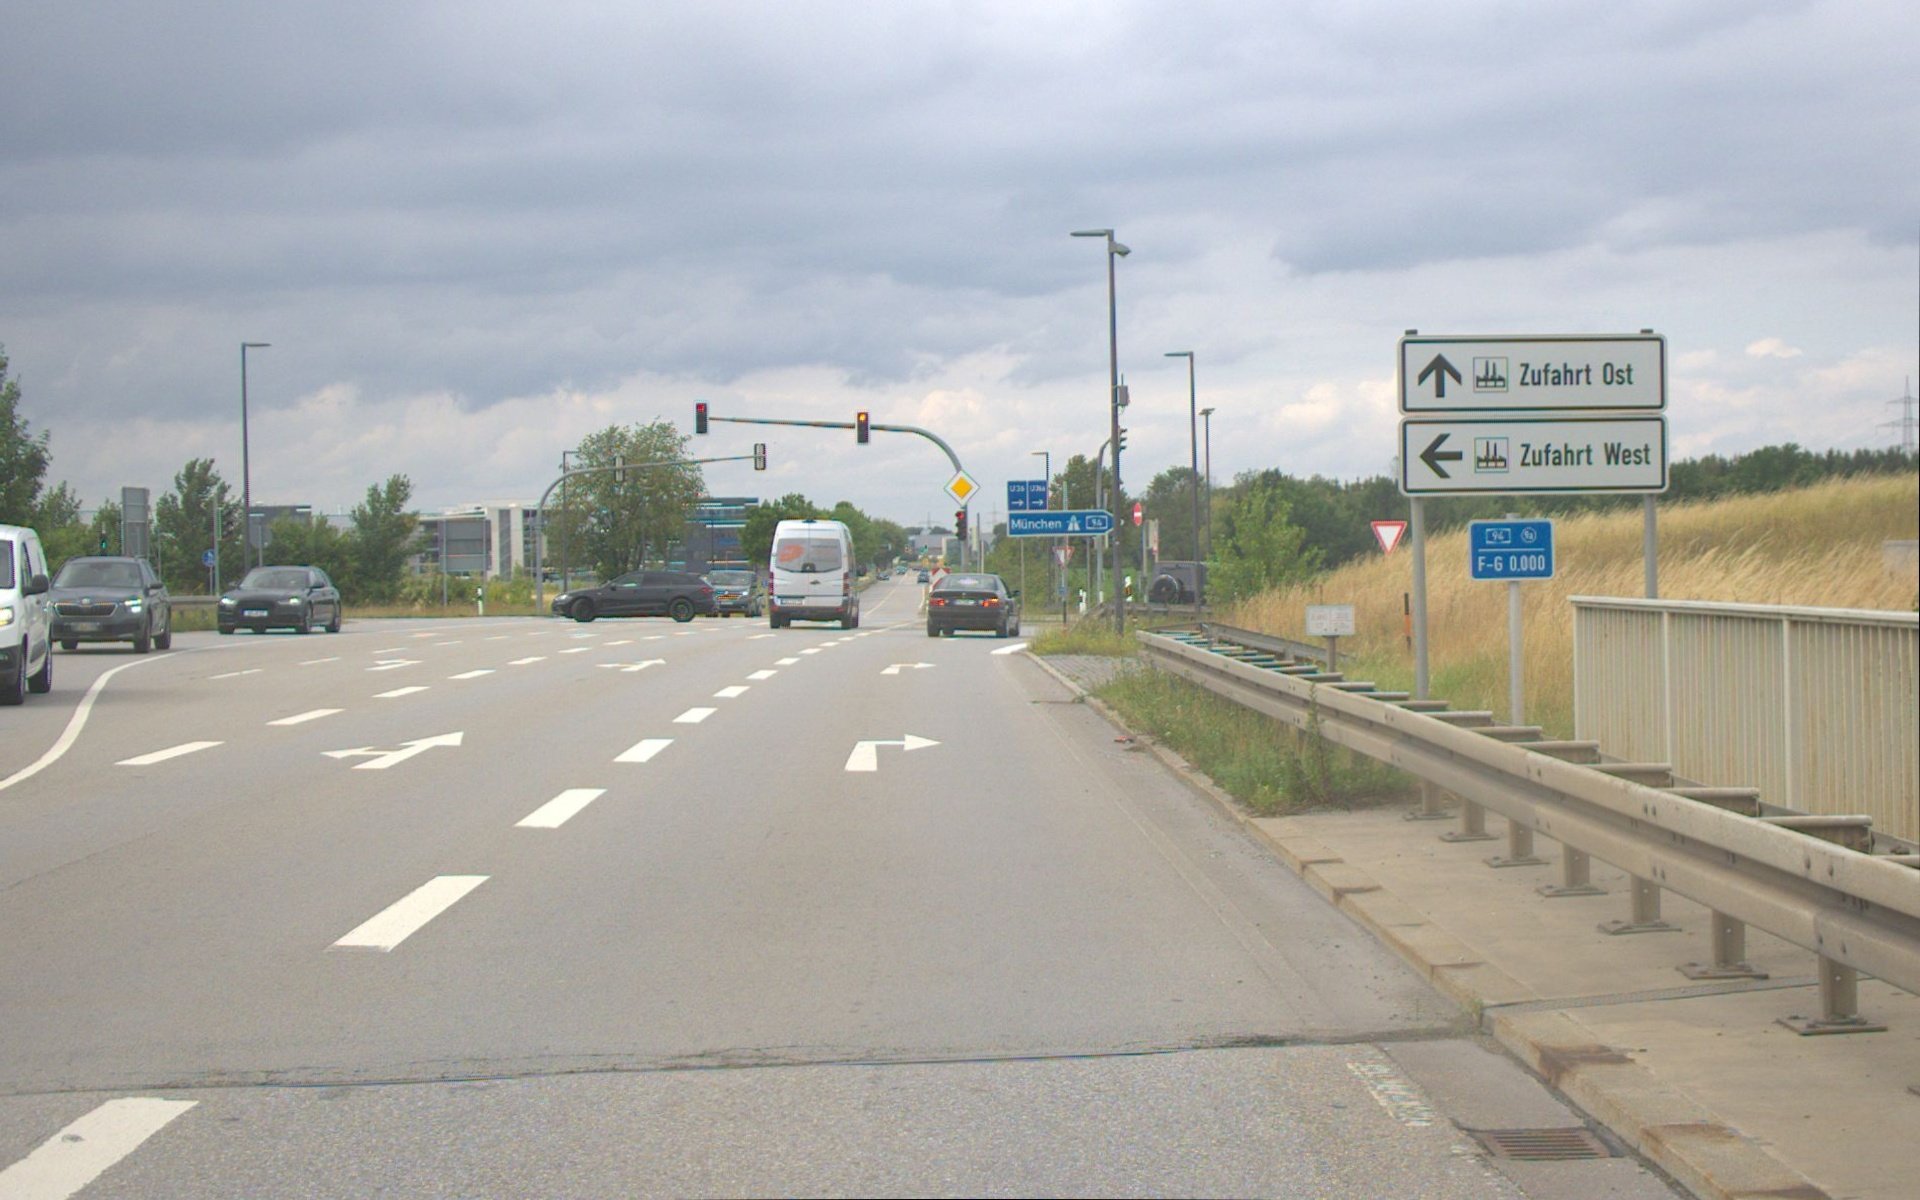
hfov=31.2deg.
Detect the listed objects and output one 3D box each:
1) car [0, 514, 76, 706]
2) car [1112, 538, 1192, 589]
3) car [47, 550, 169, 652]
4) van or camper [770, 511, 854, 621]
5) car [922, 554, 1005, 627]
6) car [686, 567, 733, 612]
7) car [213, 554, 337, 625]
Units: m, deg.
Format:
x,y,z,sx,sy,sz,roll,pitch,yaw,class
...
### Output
x,y,z,sx,sy,sz,roll,pitch,yaw,class
-10.482,0.081,35.738,1.953,1.868,4.821,0,0,-8,car
5.862,-1.112,104.474,1.683,1.539,3.613,0,1,16,car
-13.562,-0.003,54.886,1.582,1.552,4.147,1,0,-10,car
-3.581,-0.825,83.677,1.876,2.572,4.000,1,1,-1,van or camper
0.103,-0.212,72.188,1.518,1.480,3.615,0,1,4,car
-10.393,-0.440,142.685,1.638,1.846,3.749,0,1,0,car
-14.488,-0.197,72.957,1.808,1.364,4.786,3,-1,-3,car
